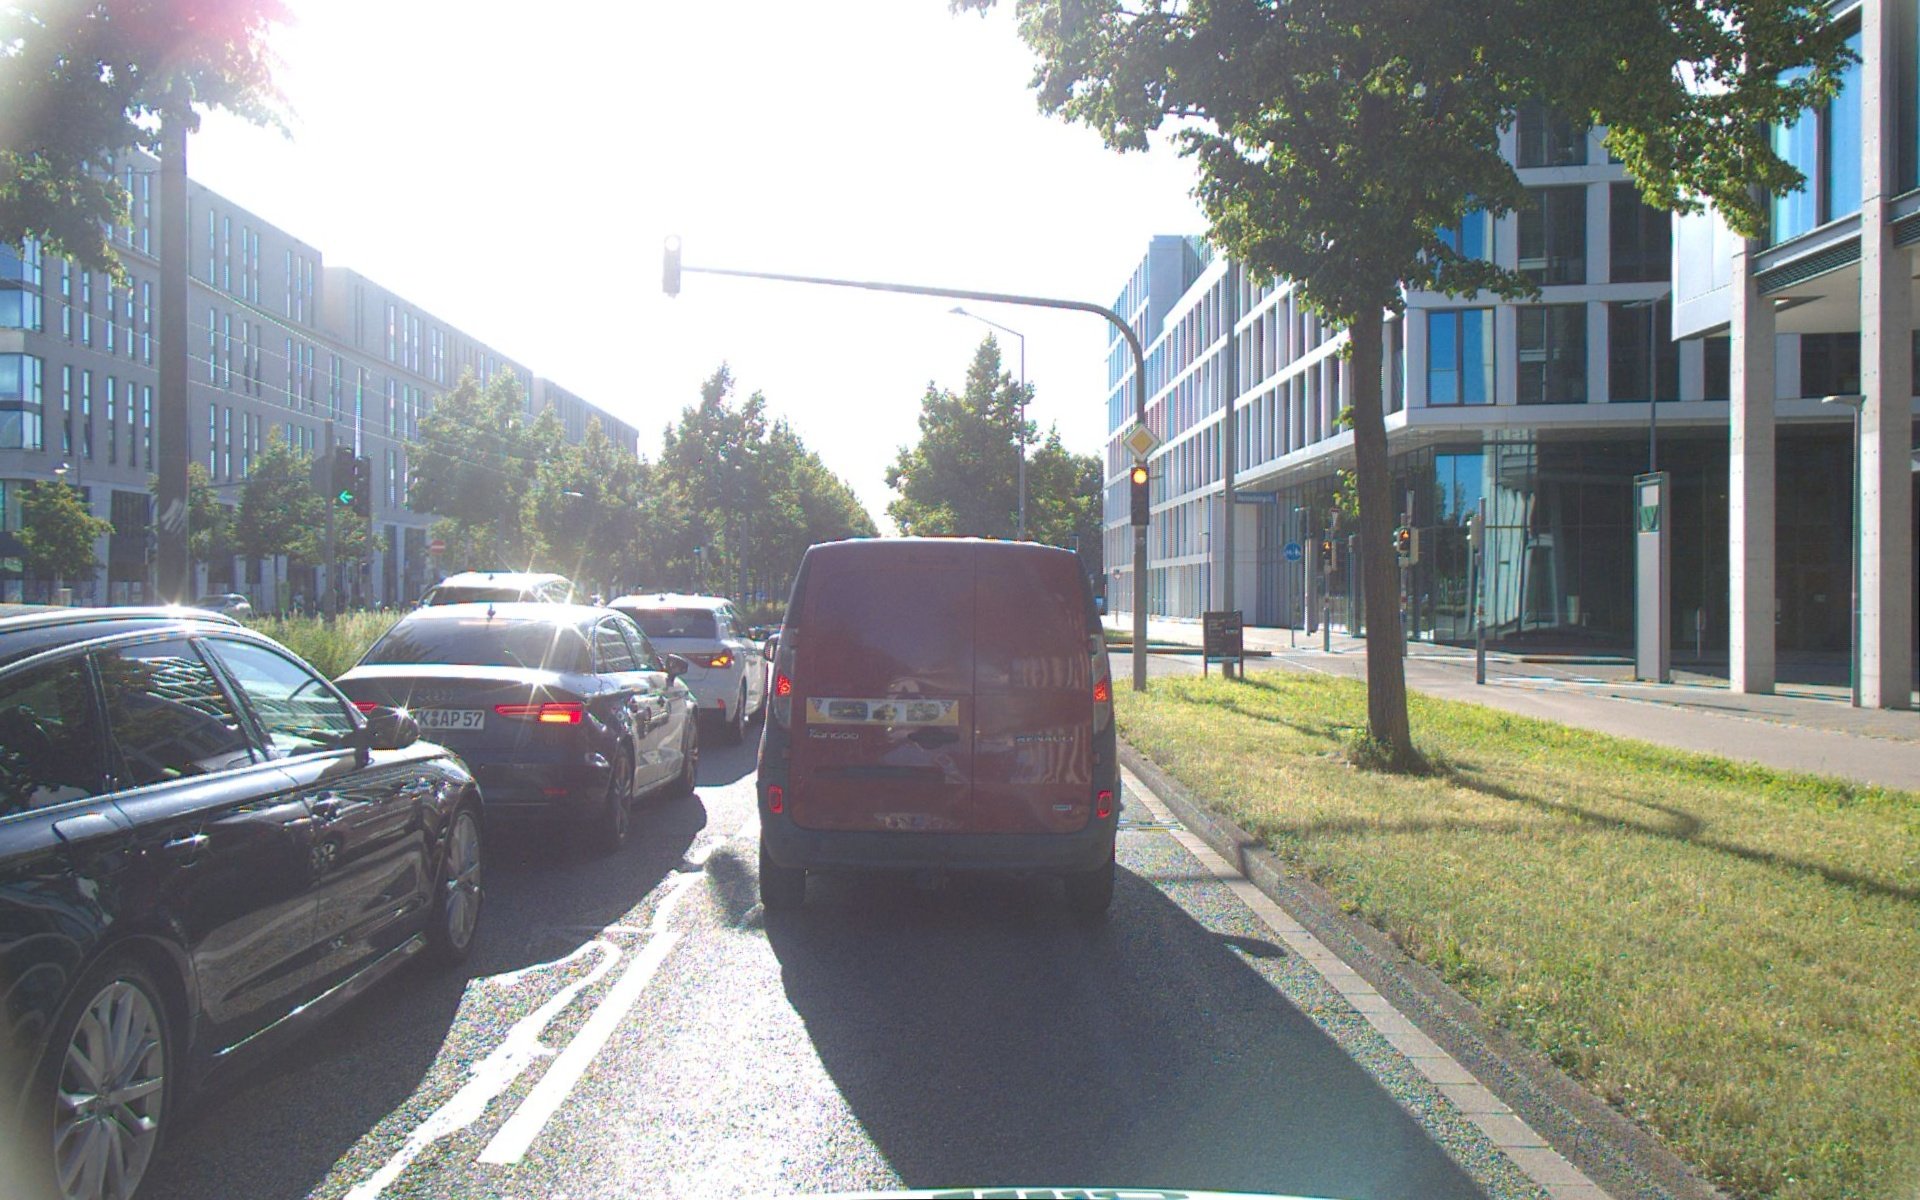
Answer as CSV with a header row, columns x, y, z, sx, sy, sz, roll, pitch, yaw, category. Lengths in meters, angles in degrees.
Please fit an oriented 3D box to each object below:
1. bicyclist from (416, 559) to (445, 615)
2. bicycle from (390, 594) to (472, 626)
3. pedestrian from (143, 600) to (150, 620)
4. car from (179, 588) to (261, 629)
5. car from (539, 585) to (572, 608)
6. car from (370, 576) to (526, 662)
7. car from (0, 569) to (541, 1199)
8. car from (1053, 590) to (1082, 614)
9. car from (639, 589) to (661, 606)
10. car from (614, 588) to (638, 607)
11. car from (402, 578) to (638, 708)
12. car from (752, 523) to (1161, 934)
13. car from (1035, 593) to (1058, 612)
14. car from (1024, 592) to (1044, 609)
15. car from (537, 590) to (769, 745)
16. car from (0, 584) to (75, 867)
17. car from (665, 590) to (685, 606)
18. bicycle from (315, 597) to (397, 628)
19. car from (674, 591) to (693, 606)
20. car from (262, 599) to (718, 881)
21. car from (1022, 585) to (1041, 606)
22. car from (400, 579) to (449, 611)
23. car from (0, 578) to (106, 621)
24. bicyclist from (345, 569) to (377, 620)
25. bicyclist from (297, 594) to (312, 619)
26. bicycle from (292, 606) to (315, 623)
x,y,z,sx,sy,sz,roll,pitch,yaw,category
-20.321,-0.486,63.536,0.922,2.129,0.816,0,0,-7,bicyclist
-20.316,0.388,63.525,2.886,1.211,0.816,0,0,-8,bicycle
-45.428,0.545,92.335,0.248,1.104,0.260,0,0,-1,pedestrian
-34.742,0.368,77.780,1.953,1.845,4.369,0,0,-1,car
-36.367,-0.357,148.781,1.953,2.049,3.999,0,0,-1,car
-10.634,0.358,34.168,1.783,1.508,4.514,3,0,-34,car
-2.773,0.686,5.126,1.836,1.510,4.965,0,0,-2,car
8.327,0.131,128.093,1.953,1.813,3.999,0,0,-1,car
-37.218,-0.274,198.668,1.953,2.049,3.999,0,0,-1,car
-36.721,-0.293,181.861,1.953,2.049,3.999,0,0,-1,car
-5.706,0.497,22.071,1.762,1.472,4.570,2,0,2,car
-0.044,0.559,9.320,1.804,1.812,3.999,0,0,-1,car
8.420,0.213,160.751,1.953,1.813,3.999,0,0,-1,car
8.064,0.041,179.946,1.953,1.813,3.999,0,0,-1,car
-3.110,0.627,17.494,1.767,1.451,3.900,0,0,-1,car
-5.739,0.658,7.108,1.764,1.473,4.563,0,0,-5,car
-37.358,-0.236,216.683,1.953,2.049,3.999,0,0,-1,car
-23.586,0.476,64.591,2.883,1.211,0.817,0,0,-4,bicycle
-37.170,-0.215,222.310,1.953,2.049,3.999,0,0,-1,car
-2.784,0.739,10.855,1.804,1.451,4.338,0,0,-1,car
8.577,-0.544,198.472,1.953,2.540,4.986,0,0,-1,car
-35.283,-0.323,109.118,1.953,2.049,3.999,0,0,-1,car
-33.195,-0.033,60.660,1.729,1.546,3.999,0,0,-1,car
-23.390,-0.232,64.620,0.979,1.981,0.817,0,0,-3,bicyclist
-40.493,0.409,102.127,0.663,1.556,0.714,0,0,-1,bicyclist
-40.503,0.882,102.067,0.663,1.005,1.956,0,0,-1,bicycle
